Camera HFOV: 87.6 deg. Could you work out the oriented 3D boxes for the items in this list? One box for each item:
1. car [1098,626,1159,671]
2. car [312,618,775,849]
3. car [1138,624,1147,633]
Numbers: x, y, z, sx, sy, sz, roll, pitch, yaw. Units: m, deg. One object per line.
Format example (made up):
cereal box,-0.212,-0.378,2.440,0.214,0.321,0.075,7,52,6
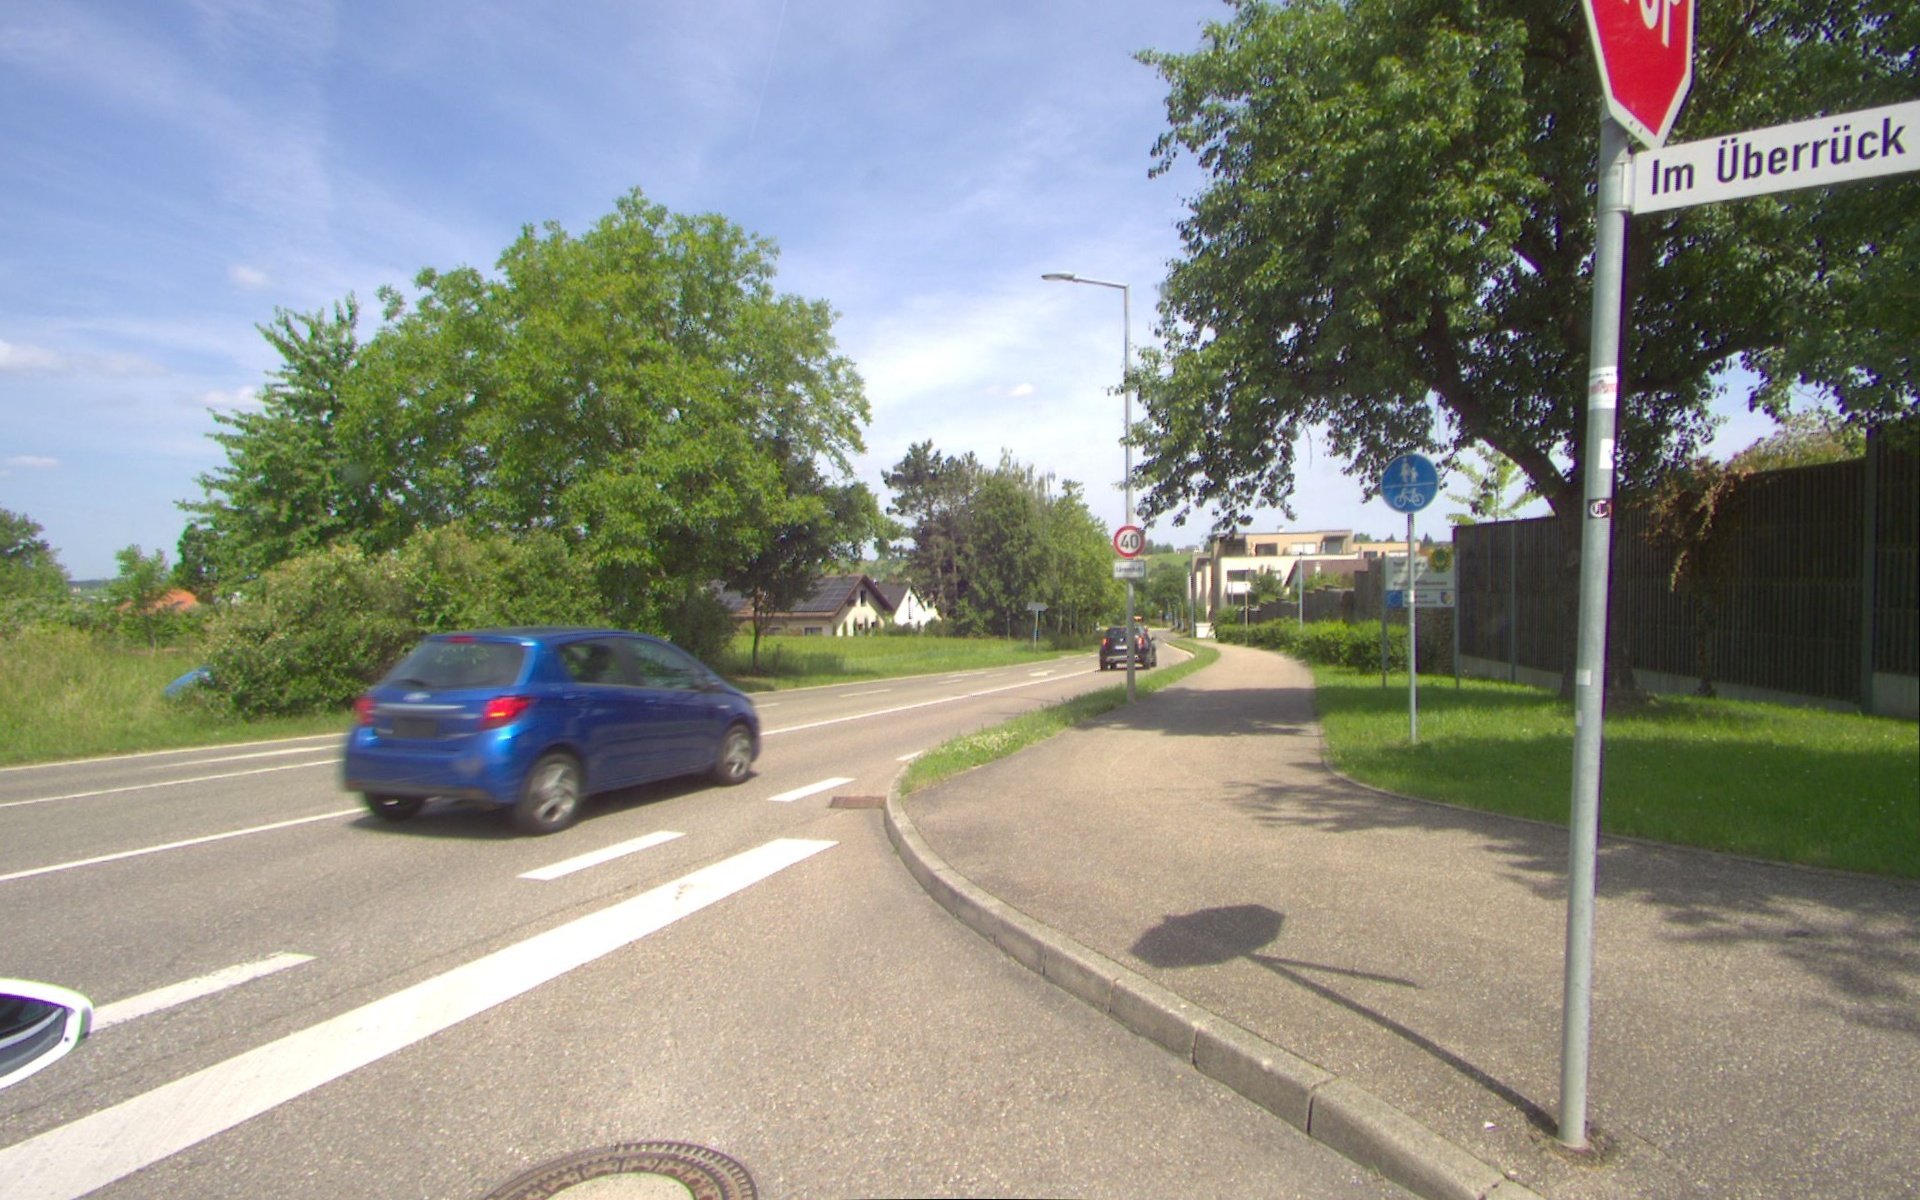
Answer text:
car,6.429,1.790,37.965,1.797,1.601,3.996,0,-2,17
car,-3.270,0.946,8.730,1.585,1.511,3.843,1,-1,19
car,36.107,5.643,198.127,1.625,1.623,3.796,0,-2,9
